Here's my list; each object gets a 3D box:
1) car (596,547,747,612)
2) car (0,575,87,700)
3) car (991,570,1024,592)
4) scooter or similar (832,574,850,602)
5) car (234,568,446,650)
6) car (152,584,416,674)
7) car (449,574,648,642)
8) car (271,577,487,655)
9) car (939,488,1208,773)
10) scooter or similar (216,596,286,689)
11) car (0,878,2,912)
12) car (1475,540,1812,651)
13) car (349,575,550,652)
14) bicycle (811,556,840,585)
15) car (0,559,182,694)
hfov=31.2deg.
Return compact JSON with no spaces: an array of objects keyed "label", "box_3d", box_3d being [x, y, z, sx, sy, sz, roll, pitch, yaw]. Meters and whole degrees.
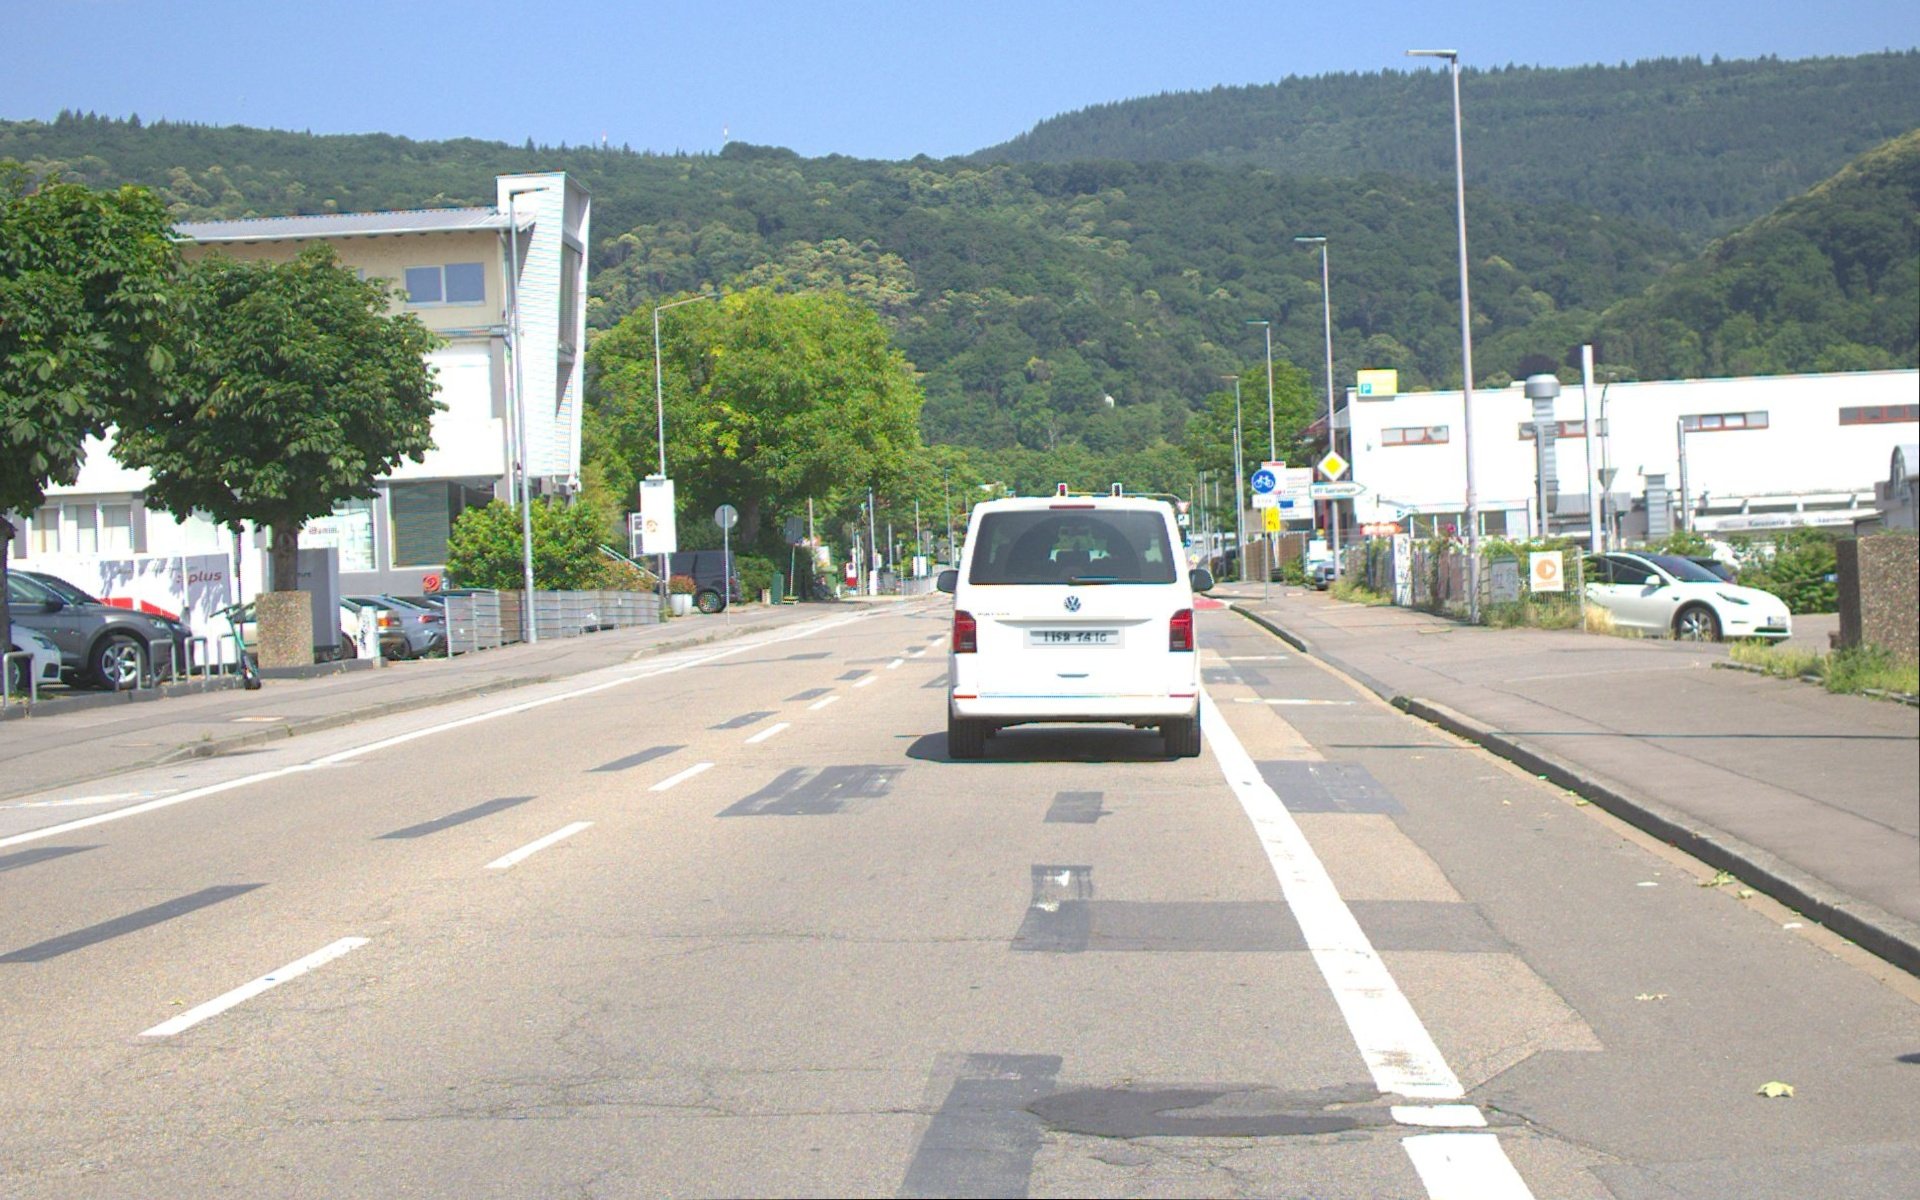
[{"label":"car","box_3d":[-8.970,-0.638,107.135,4.566,1.859,2.093,-2,1,-2]},{"label":"car","box_3d":[-12.871,0.473,41.373,4.189,1.490,1.874,-1,0,-32]},{"label":"car","box_3d":[3.210,-1.291,231.478,1.994,1.365,4.326,-3,0,3]},{"label":"scooter or similar","box_3d":[-4.813,-0.483,138.830,0.646,1.124,1.623,1,0,-4]},{"label":"car","box_3d":[-12.044,0.193,66.969,3.889,1.439,1.823,2,-2,-5]},{"label":"car","box_3d":[-12.688,0.541,64.704,4.524,1.452,1.900,-3,1,1]},{"label":"car","box_3d":[-10.434,0.199,87.412,4.739,1.476,2.048,-3,1,2]},{"label":"car","box_3d":[-11.711,0.329,69.451,3.987,1.438,1.859,1,-2,1]},{"label":"car","box_3d":[0.860,0.197,27.136,1.934,2.052,4.544,0,1,1]},{"label":"scooter or similar","box_3d":[-9.816,0.578,47.637,0.743,1.243,1.491,-2,0,-5]},{"label":"car","box_3d":[-5.438,0.841,13.935,1.742,1.399,4.324,-4,0,1]},{"label":"car","box_3d":[10.962,-0.034,55.397,2.018,1.616,5.044,5,-4,-44]},{"label":"car","box_3d":[-11.761,0.304,79.432,4.296,1.553,1.995,-3,1,-1]},{"label":"bicycle","box_3d":[-5.267,-1.170,135.030,1.027,1.114,2.766,0,0,0]},{"label":"car","box_3d":[-12.816,0.375,45.348,4.565,1.691,1.859,-2,1,-32]}]
